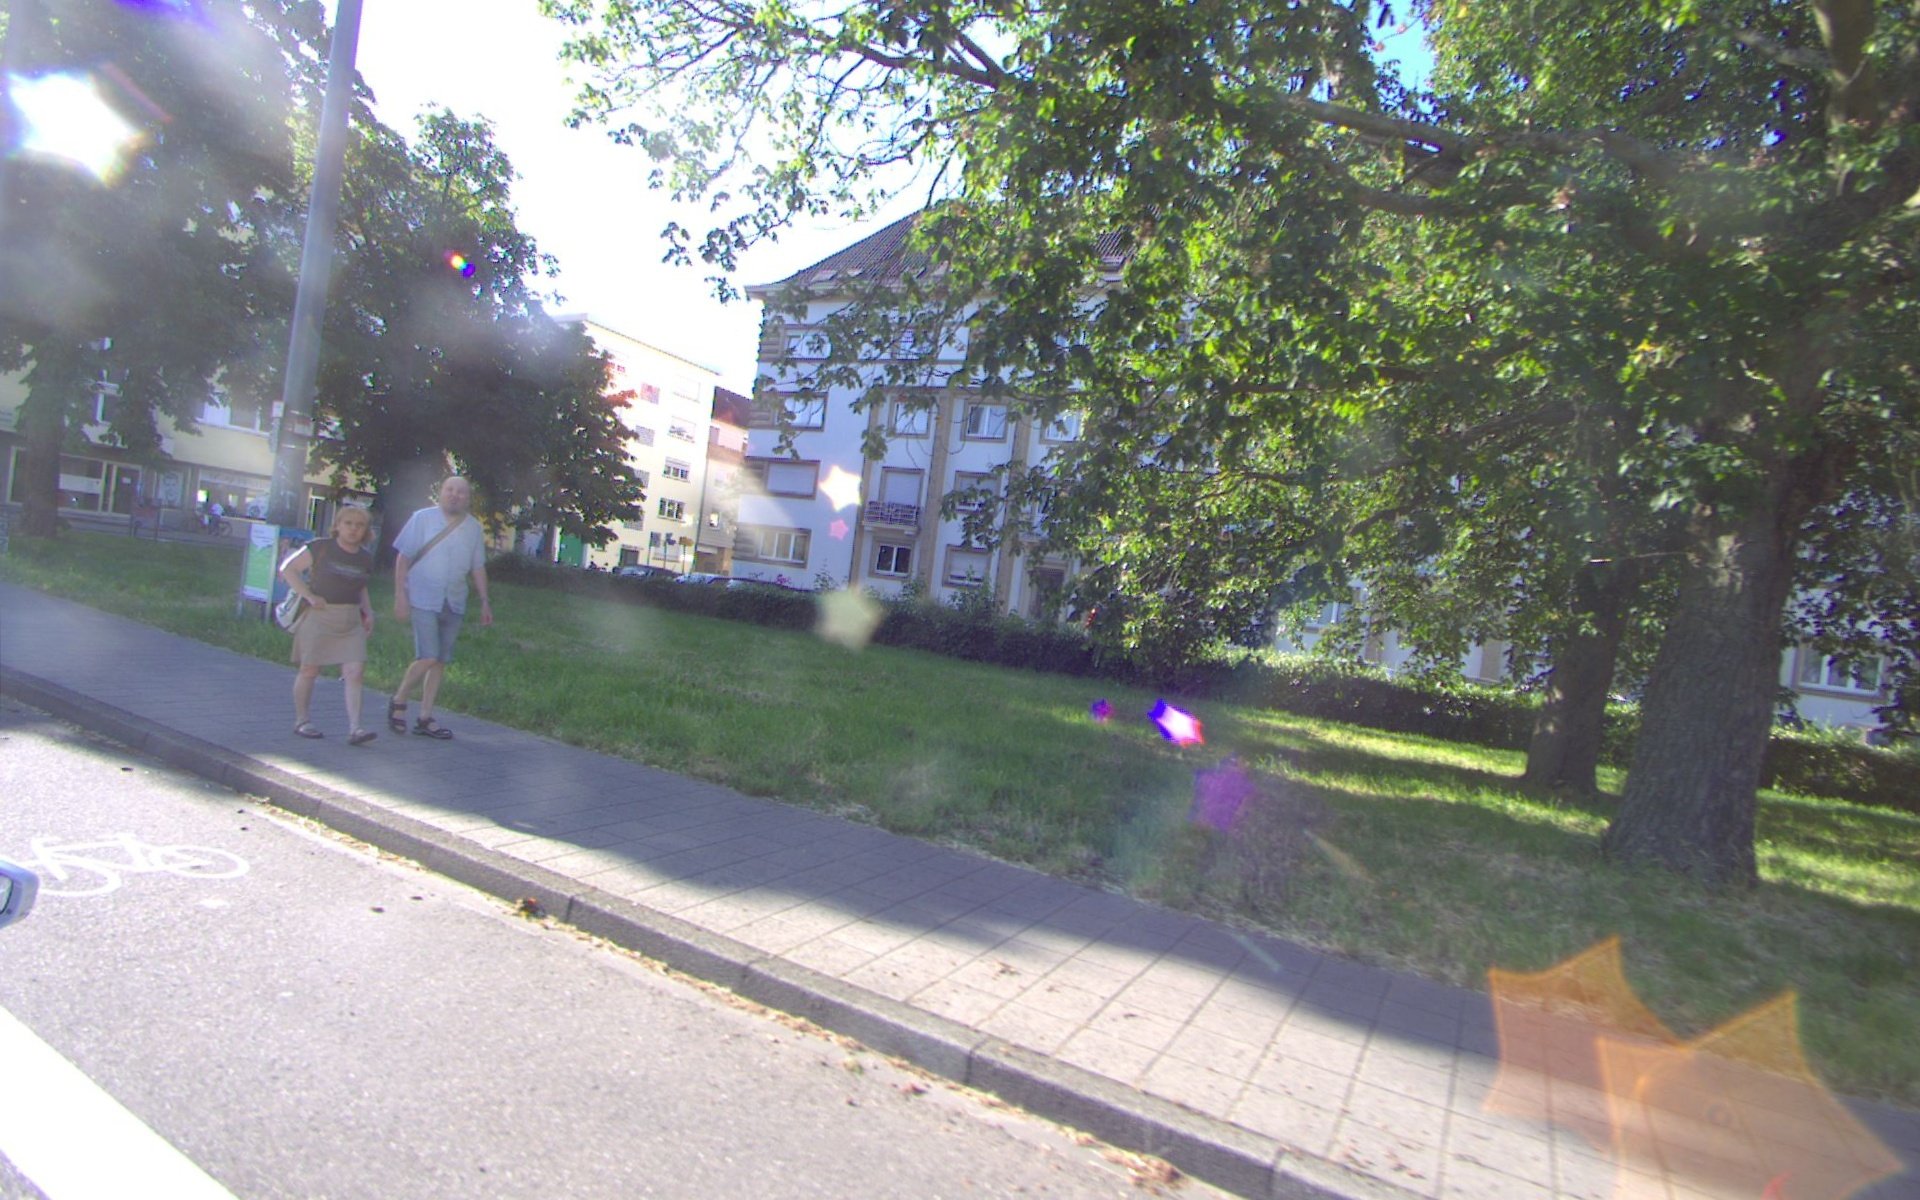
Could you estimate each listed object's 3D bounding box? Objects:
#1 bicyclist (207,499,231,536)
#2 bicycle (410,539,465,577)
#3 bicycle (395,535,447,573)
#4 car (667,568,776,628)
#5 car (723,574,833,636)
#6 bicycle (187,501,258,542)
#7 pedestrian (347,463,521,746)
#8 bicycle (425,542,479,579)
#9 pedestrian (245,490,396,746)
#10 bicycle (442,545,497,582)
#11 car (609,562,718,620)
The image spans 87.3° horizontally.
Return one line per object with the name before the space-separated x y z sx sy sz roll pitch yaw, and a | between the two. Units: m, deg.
bicyclist | -34.014 -3.765 46.185 0.456 1.585 0.529 8 -2 27
bicycle | -17.976 -1.451 34.590 1.972 1.046 0.599 8 -2 30
bicycle | -18.217 -1.566 33.994 1.765 1.046 0.599 8 -2 29
car | -7.747 -0.044 32.935 1.548 1.547 3.255 8 0 28
car | -5.590 0.190 31.239 1.548 1.547 3.255 8 0 28
bicycle | -34.294 -3.623 46.830 0.598 1.414 2.478 8 -3 29
pedestrian | -3.652 0.026 6.988 0.683 1.814 0.702 9 4 35
bicycle | -17.808 -1.386 35.249 1.956 1.046 0.599 8 -2 30
pedestrian | -4.153 0.109 6.530 0.617 1.548 0.529 8 2 35
bicycle | -17.464 -1.301 35.801 1.972 1.046 0.599 8 -2 30
car | -9.926 -0.269 33.872 1.548 1.547 3.255 8 0 28
